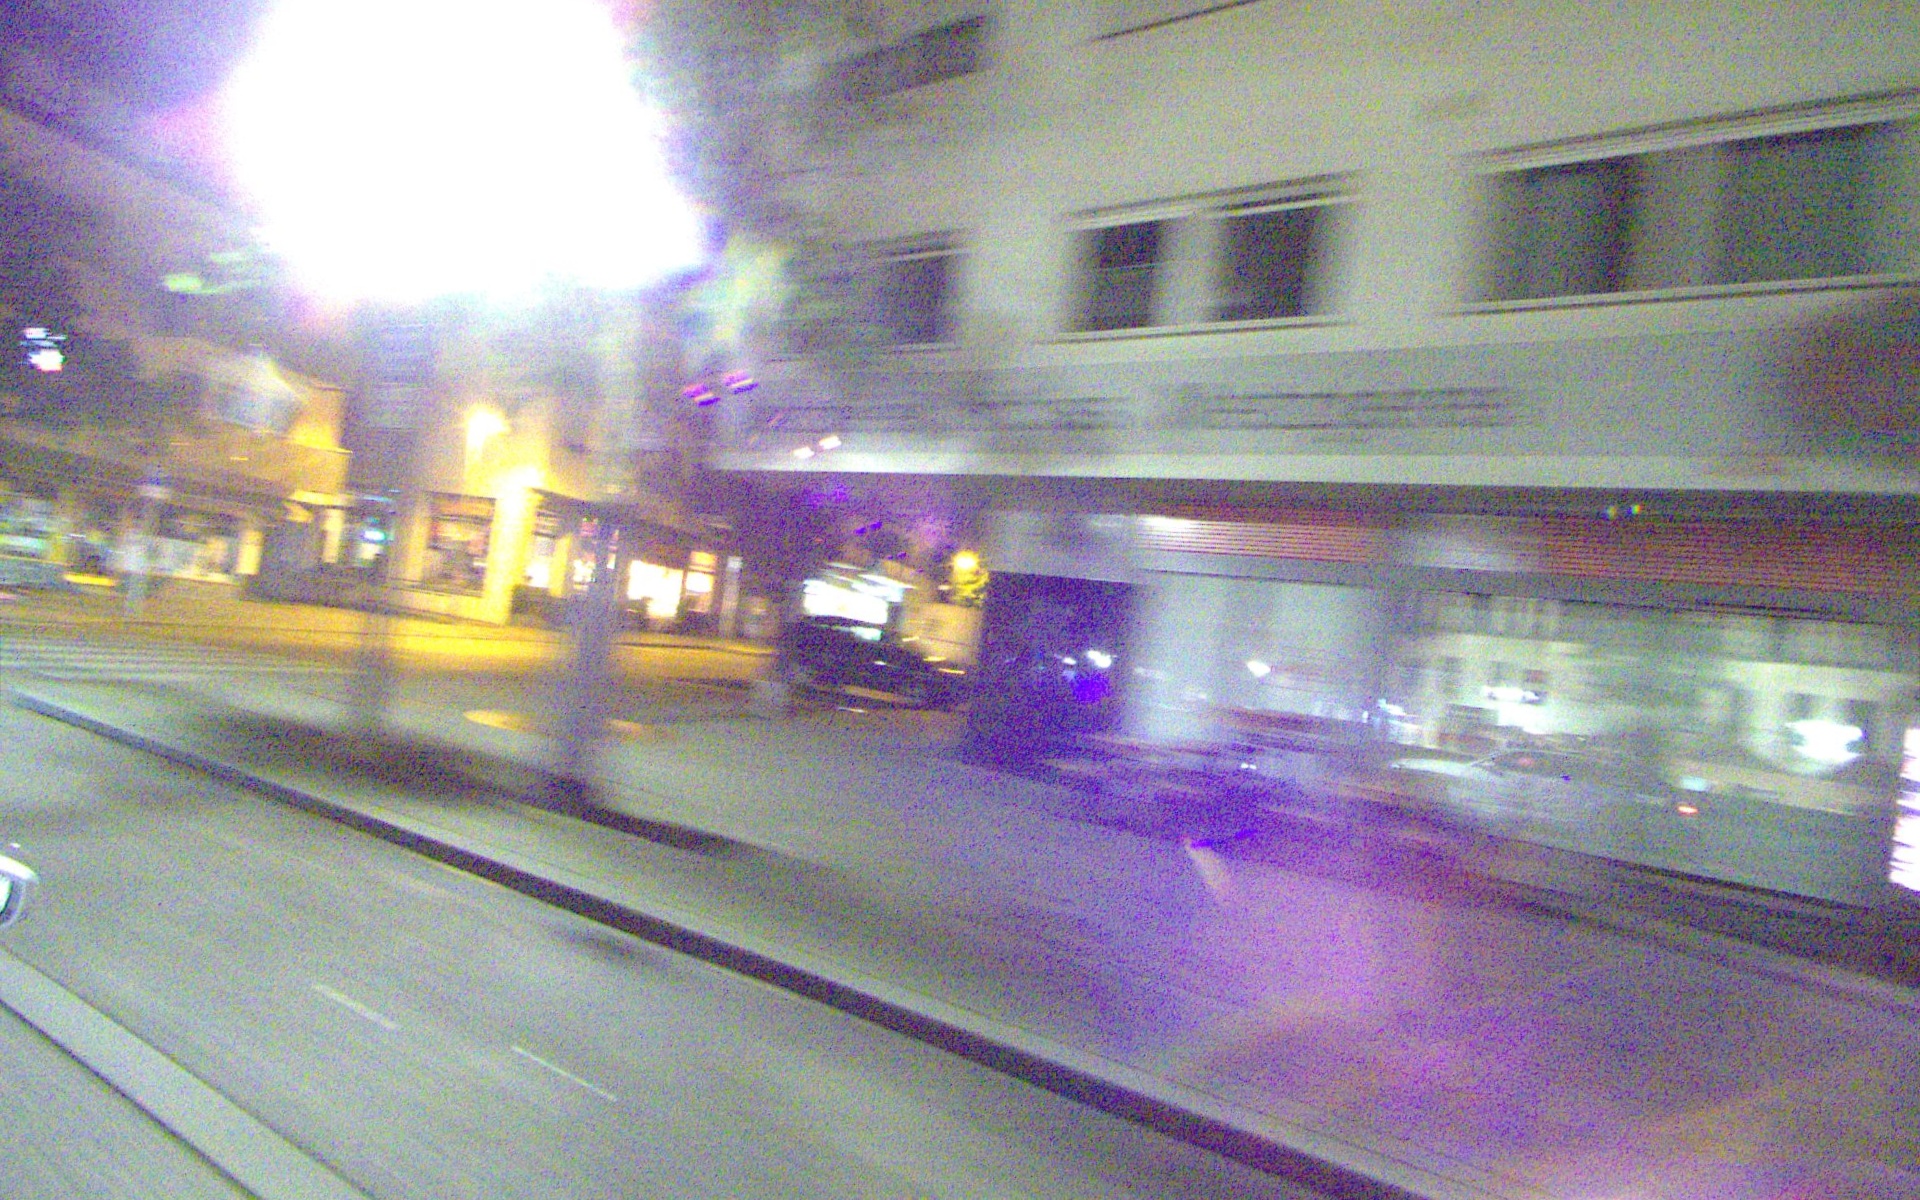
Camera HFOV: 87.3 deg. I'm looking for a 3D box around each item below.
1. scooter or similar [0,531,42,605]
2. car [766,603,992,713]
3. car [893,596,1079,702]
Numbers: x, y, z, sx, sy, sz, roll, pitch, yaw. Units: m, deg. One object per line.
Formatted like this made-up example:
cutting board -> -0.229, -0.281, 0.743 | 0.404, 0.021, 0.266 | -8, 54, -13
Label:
scooter or similar -> -17.483, -0.640, 18.038 | 0.588, 1.240, 1.250 | 8, -3, 29
car -> -1.733, 1.272, 21.831 | 4.258, 1.678, 2.003 | 7, -3, 20
car -> 0.944, 1.699, 34.329 | 5.621, 2.676, 2.540 | 8, -3, 14
